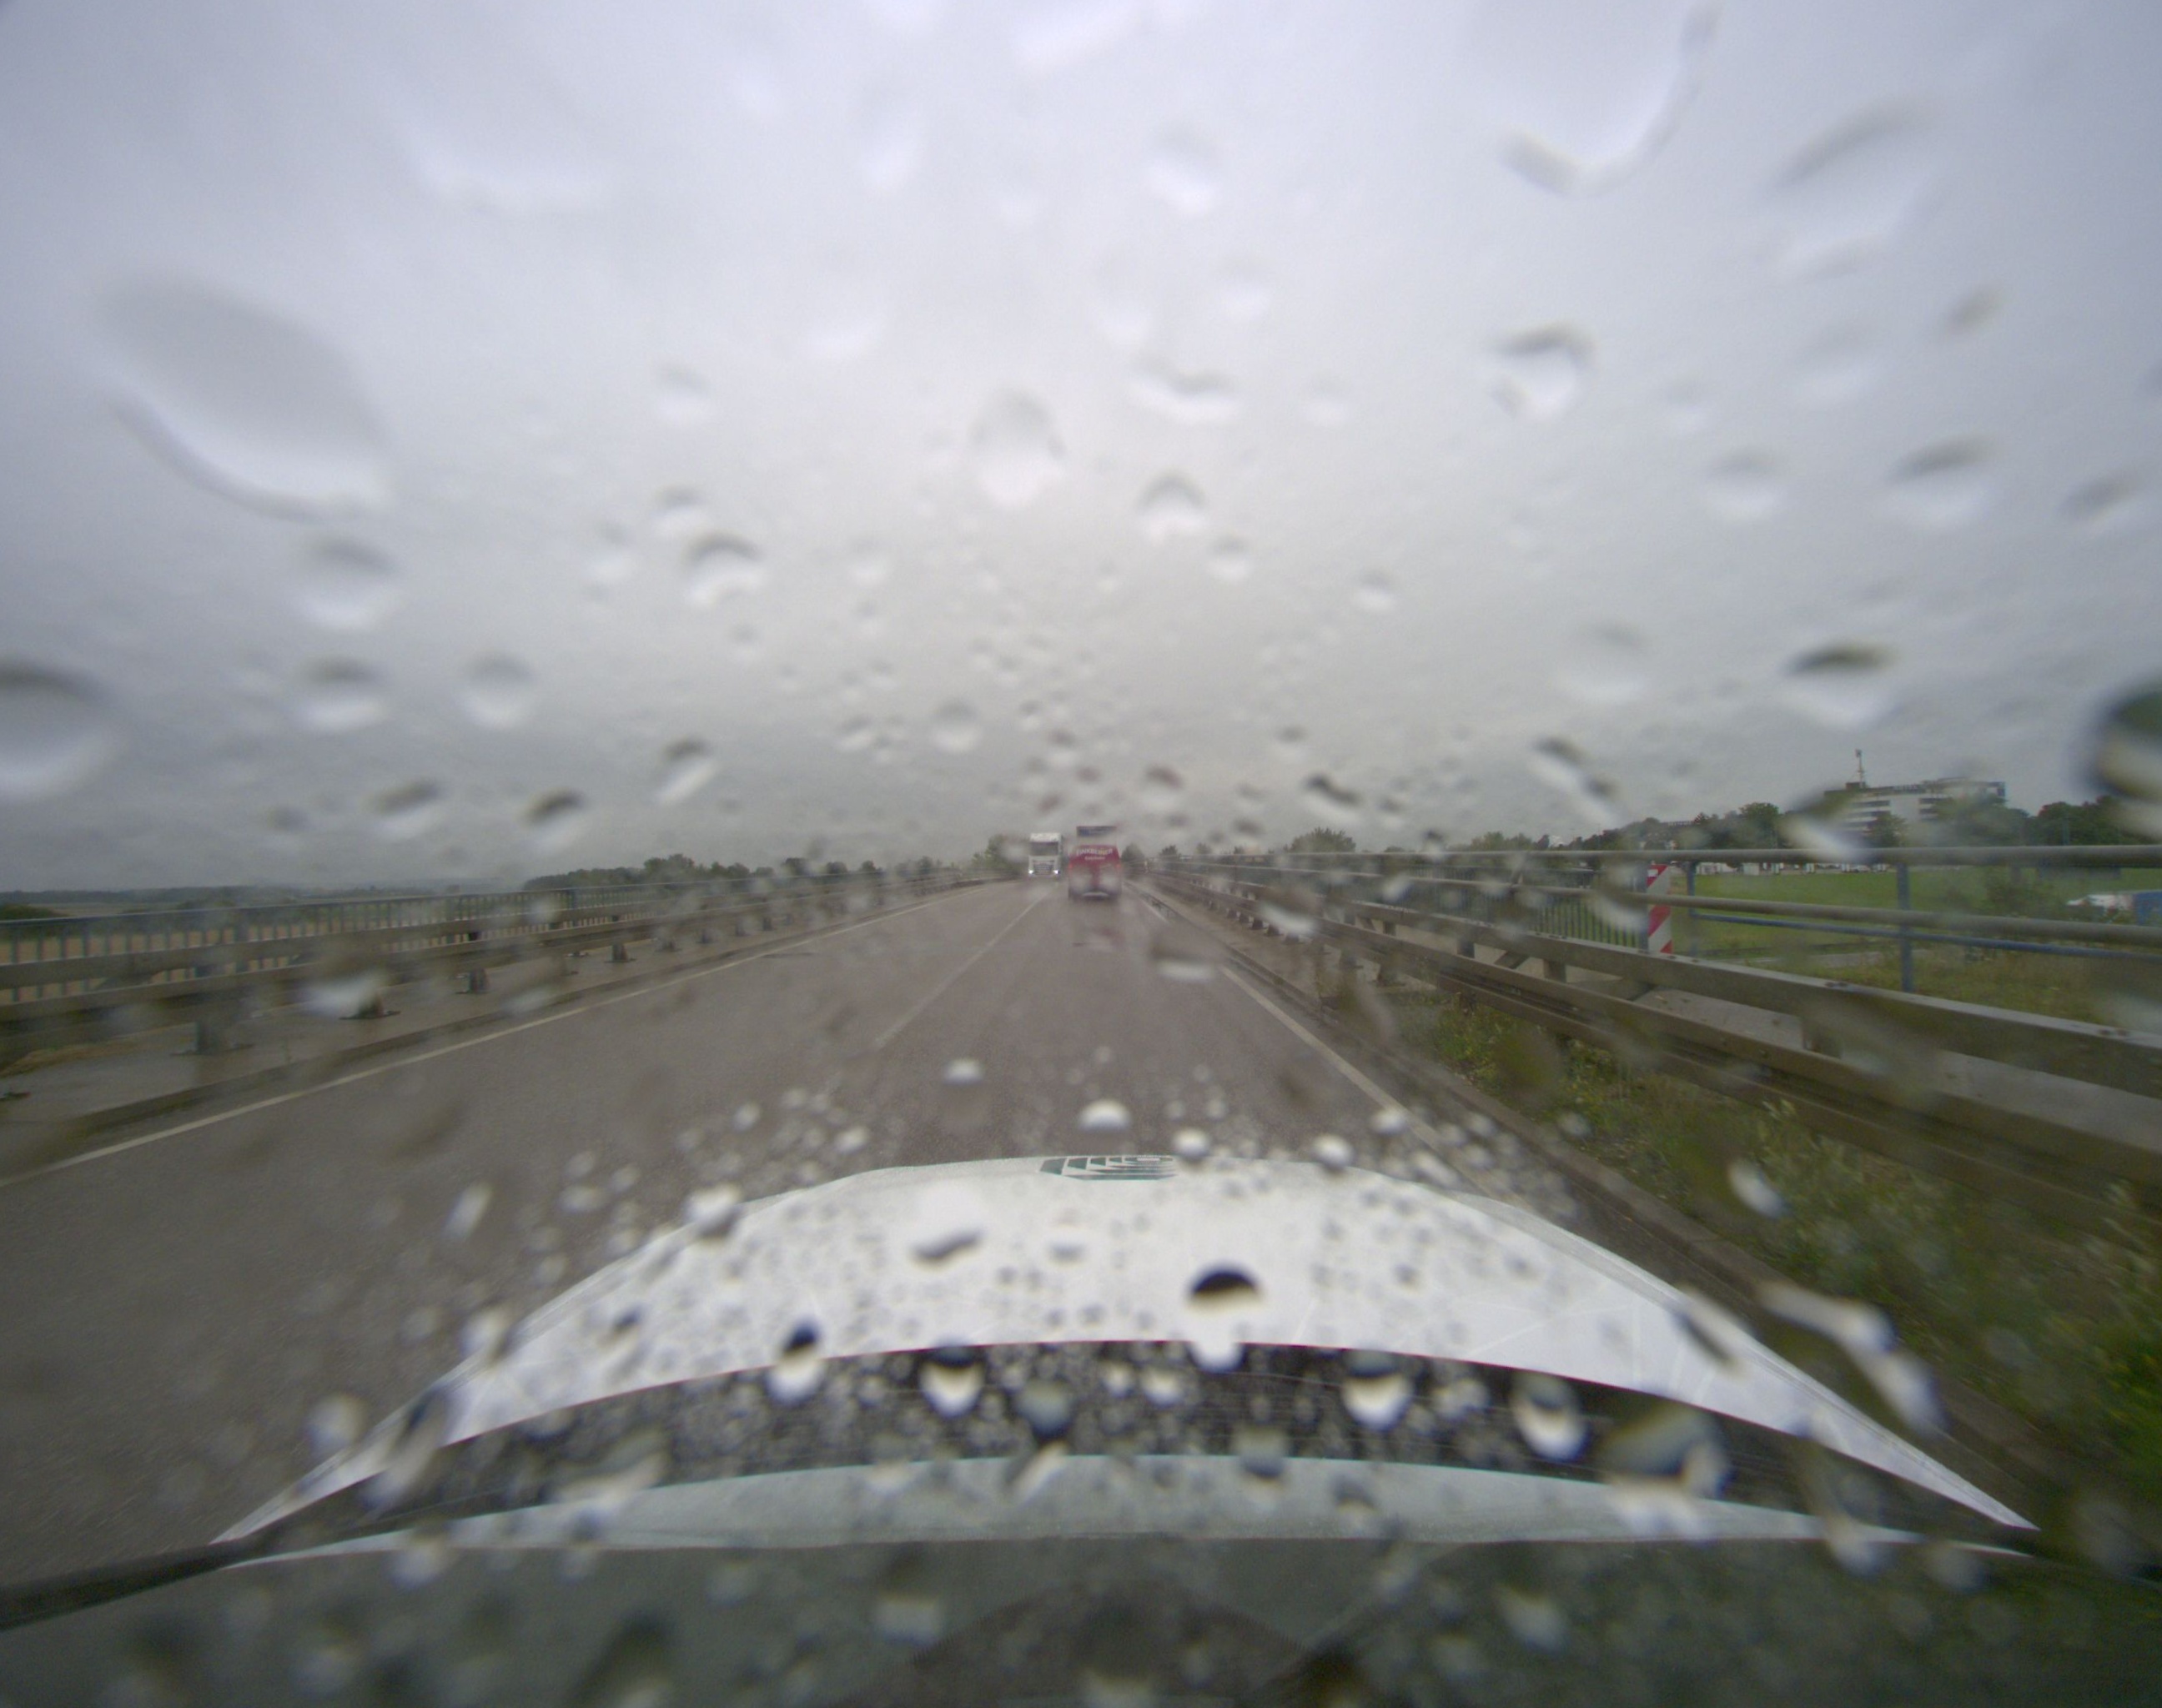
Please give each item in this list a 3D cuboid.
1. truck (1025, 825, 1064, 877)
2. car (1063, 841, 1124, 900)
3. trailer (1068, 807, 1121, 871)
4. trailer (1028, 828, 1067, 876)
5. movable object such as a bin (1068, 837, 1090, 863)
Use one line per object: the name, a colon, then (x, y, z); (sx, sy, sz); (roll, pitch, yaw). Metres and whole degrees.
truck: (-2.917, -0.194, 67.967); (2.809, 3.970, 8.762); (-1, 0, 0)
car: (0.415, 0.534, 29.140); (1.987, 1.925, 4.143); (0, 0, 0)
trailer: (1.038, -0.865, 54.976); (3.189, 3.922, 8.743); (1, -1, 2)
trailer: (-2.890, -0.121, 73.941); (2.809, 3.970, 13.733); (-1, 0, 0)
movable object such as a bin: (-0.274, -0.560, 112.651); (2.737, 3.445, 4.646); (-2, -1, 3)
